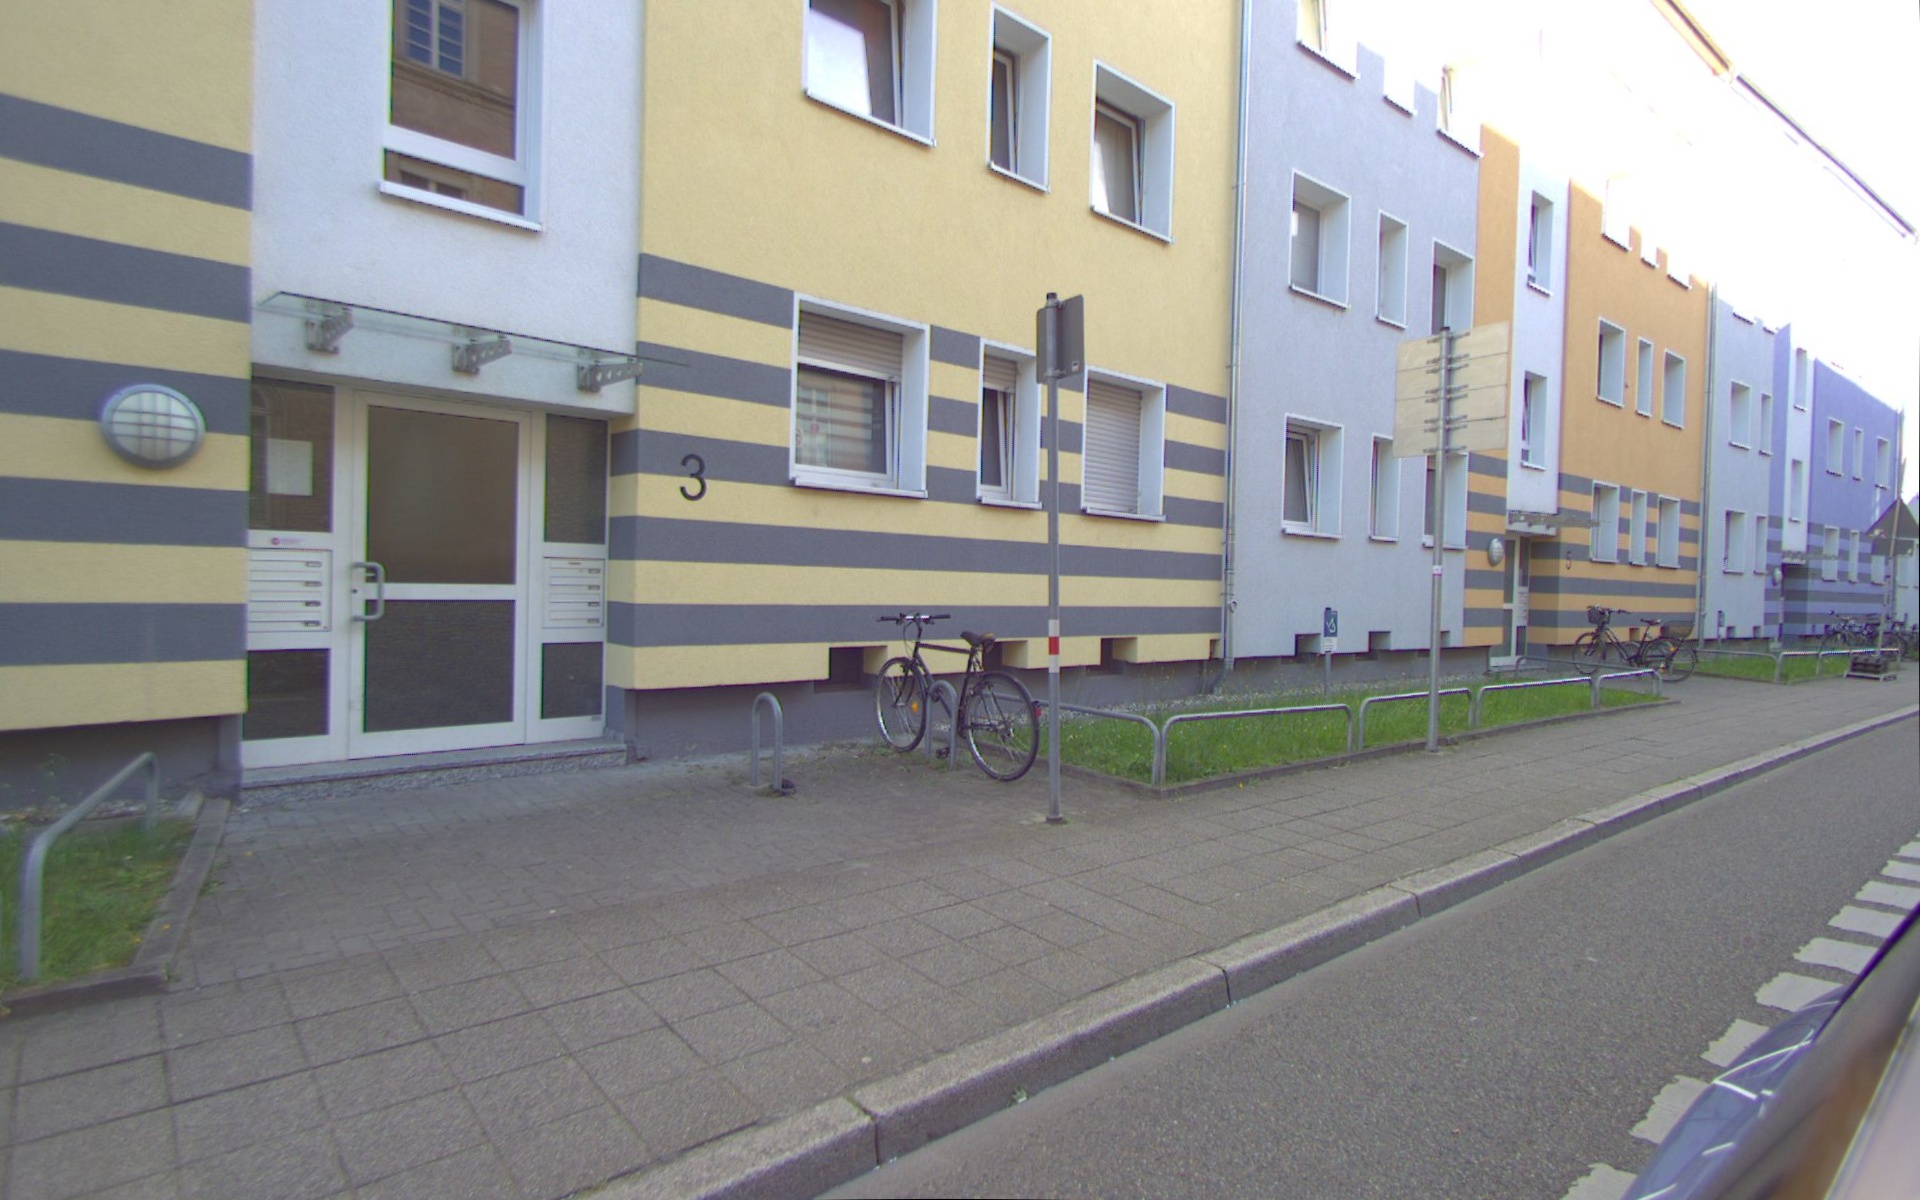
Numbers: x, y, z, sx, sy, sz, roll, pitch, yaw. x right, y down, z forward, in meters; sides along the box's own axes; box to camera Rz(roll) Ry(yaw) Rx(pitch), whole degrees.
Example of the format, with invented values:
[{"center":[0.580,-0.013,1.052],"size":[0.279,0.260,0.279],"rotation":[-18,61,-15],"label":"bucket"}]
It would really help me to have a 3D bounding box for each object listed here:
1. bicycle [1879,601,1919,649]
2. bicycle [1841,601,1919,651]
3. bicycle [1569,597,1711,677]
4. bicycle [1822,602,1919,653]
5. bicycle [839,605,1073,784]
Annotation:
[{"center":[24.127,0.645,25.267],"size":[0.475,1.166,1.678],"rotation":[1,1,-37],"label":"bicycle"},{"center":[23.299,0.633,25.410],"size":[0.475,1.166,1.678],"rotation":[1,1,-37],"label":"bicycle"},{"center":[10.679,0.556,15.934],"size":[1.775,1.137,0.476],"rotation":[3,1,44],"label":"bicycle"},{"center":[22.218,0.651,24.718],"size":[0.475,1.166,1.678],"rotation":[1,1,-37],"label":"bicycle"},{"center":[-0.082,0.584,7.006],"size":[1.775,1.031,0.476],"rotation":[3,1,44],"label":"bicycle"}]
